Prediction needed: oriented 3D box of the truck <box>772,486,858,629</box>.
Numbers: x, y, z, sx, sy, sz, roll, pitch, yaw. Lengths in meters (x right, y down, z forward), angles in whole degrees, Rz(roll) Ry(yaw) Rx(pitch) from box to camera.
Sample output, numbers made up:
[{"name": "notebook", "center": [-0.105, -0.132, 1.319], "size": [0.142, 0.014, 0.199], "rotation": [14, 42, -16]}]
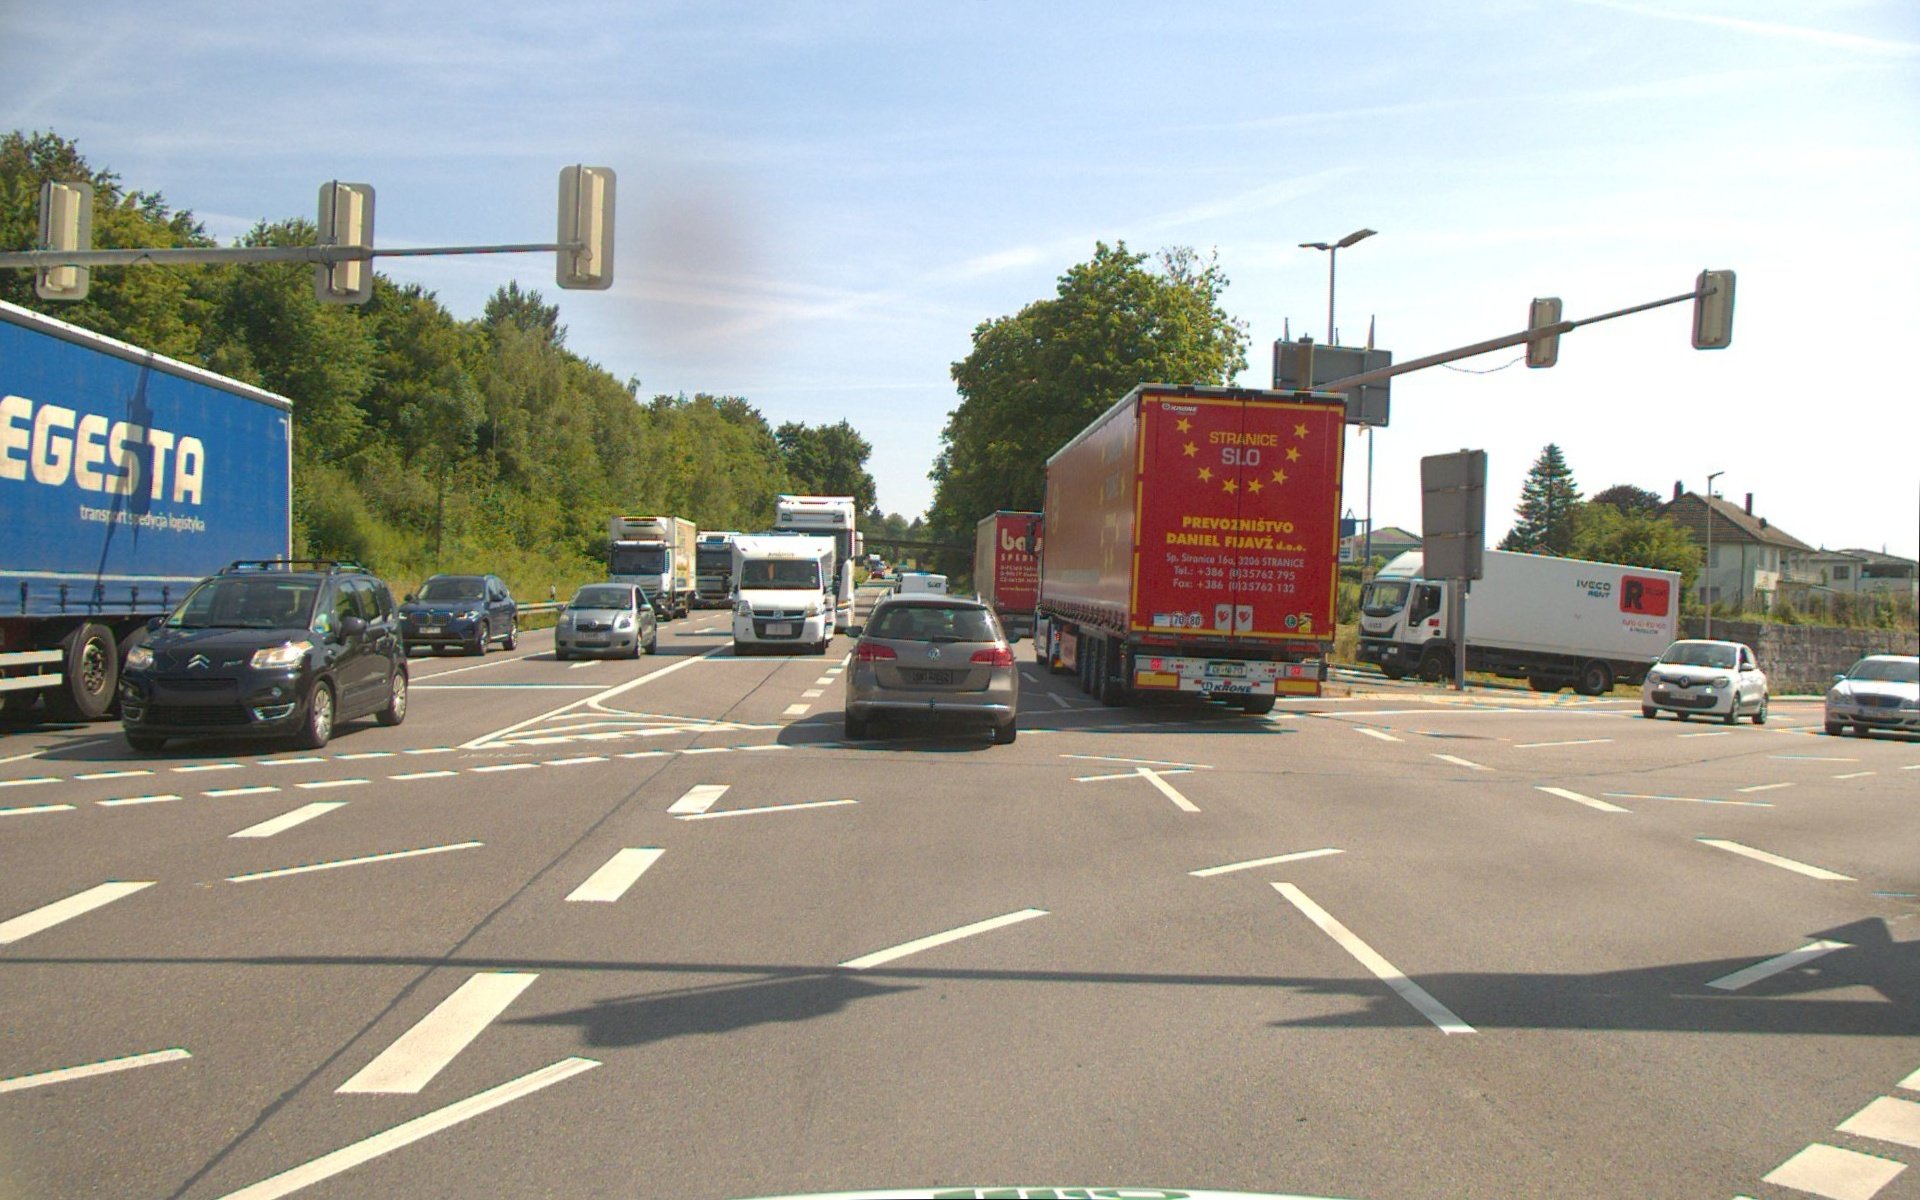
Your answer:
[{"name": "truck", "center": [-4.426, -1.257, 51.333], "size": [2.487, 4.159, 6.261], "rotation": [0, 0, -4]}]

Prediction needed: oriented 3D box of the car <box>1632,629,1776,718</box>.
[{"name": "car", "center": [14.380, 1.424, 31.883], "size": [1.678, 1.530, 3.739], "rotation": [3, -1, 37]}]

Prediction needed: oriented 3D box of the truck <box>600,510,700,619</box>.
[{"name": "truck", "center": [-12.397, -1.367, 66.901], "size": [2.674, 4.069, 9.614], "rotation": [0, 0, -3]}]

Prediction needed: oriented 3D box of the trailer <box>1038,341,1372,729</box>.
[{"name": "trailer", "center": [3.195, -0.812, 26.002], "size": [2.782, 4.441, 13.163], "rotation": [2, 0, -2]}]

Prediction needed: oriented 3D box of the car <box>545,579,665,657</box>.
[{"name": "car", "center": [-7.294, 0.338, 34.357], "size": [1.690, 1.528, 3.999], "rotation": [0, 0, -1]}]

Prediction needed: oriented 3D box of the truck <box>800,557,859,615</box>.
[{"name": "truck", "center": [-5.441, -0.575, 69.490], "size": [2.182, 2.307, 6.497], "rotation": [0, 0, -2]}]

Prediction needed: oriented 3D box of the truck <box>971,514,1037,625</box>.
[{"name": "truck", "center": [1.680, -1.171, 65.544], "size": [2.357, 4.200, 5.520], "rotation": [0, 0, -1]}]

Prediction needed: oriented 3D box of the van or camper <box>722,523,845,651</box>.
[{"name": "van or camper", "center": [-3.918, -0.296, 37.948], "size": [2.283, 2.645, 6.976], "rotation": [0, 0, -2]}]

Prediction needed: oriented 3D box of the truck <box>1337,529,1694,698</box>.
[{"name": "truck", "center": [15.486, 0.438, 46.005], "size": [9.526, 3.690, 2.752], "rotation": [6, -1, -19]}]

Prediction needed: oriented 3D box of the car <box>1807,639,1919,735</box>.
[{"name": "car", "center": [17.183, 1.603, 30.378], "size": [1.962, 1.531, 4.977], "rotation": [3, -1, 38]}]

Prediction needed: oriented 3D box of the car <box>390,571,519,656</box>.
[{"name": "car", "center": [-10.844, 0.262, 35.768], "size": [1.956, 1.706, 4.300], "rotation": [0, 0, -8]}]

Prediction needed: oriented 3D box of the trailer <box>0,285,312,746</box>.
[{"name": "trailer", "center": [-10.214, -0.776, 15.940], "size": [3.031, 4.151, 14.119], "rotation": [0, 0, -3]}]

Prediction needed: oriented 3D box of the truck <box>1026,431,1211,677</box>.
[{"name": "truck", "center": [3.005, -0.857, 33.002], "size": [2.812, 4.355, 5.837], "rotation": [2, 0, -2]}]

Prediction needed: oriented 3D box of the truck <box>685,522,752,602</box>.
[{"name": "truck", "center": [-13.257, -2.033, 91.352], "size": [2.773, 4.188, 9.676], "rotation": [0, 0, -3]}]

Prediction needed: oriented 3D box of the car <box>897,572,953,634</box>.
[{"name": "car", "center": [-1.189, 0.078, 54.626], "size": [1.735, 1.970, 3.975], "rotation": [0, 0, -3]}]

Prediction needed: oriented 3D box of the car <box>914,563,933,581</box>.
[{"name": "car", "center": [-4.136, -3.148, 187.350], "size": [1.954, 2.049, 3.998], "rotation": [0, 0, -3]}]

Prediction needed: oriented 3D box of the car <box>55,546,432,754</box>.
[{"name": "car", "center": [-6.707, 0.411, 16.015], "size": [1.953, 1.756, 3.999], "rotation": [0, 0, -1]}]

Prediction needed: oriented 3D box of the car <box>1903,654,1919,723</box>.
[{"name": "car", "center": [23.193, 2.106, 38.254], "size": [1.881, 1.524, 3.983], "rotation": [3, -1, 37]}]

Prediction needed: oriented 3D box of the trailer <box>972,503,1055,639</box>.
[{"name": "trailer", "center": [1.744, -0.973, 59.119], "size": [2.346, 4.317, 13.076], "rotation": [0, 0, -1]}]

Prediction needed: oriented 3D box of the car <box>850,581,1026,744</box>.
[{"name": "car", "center": [-0.307, 0.580, 17.653], "size": [1.657, 1.539, 3.998], "rotation": [0, 0, -3]}]

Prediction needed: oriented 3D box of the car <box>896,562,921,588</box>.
[{"name": "car", "center": [-4.132, -1.980, 132.911], "size": [1.954, 2.049, 3.998], "rotation": [0, 0, -3]}]
